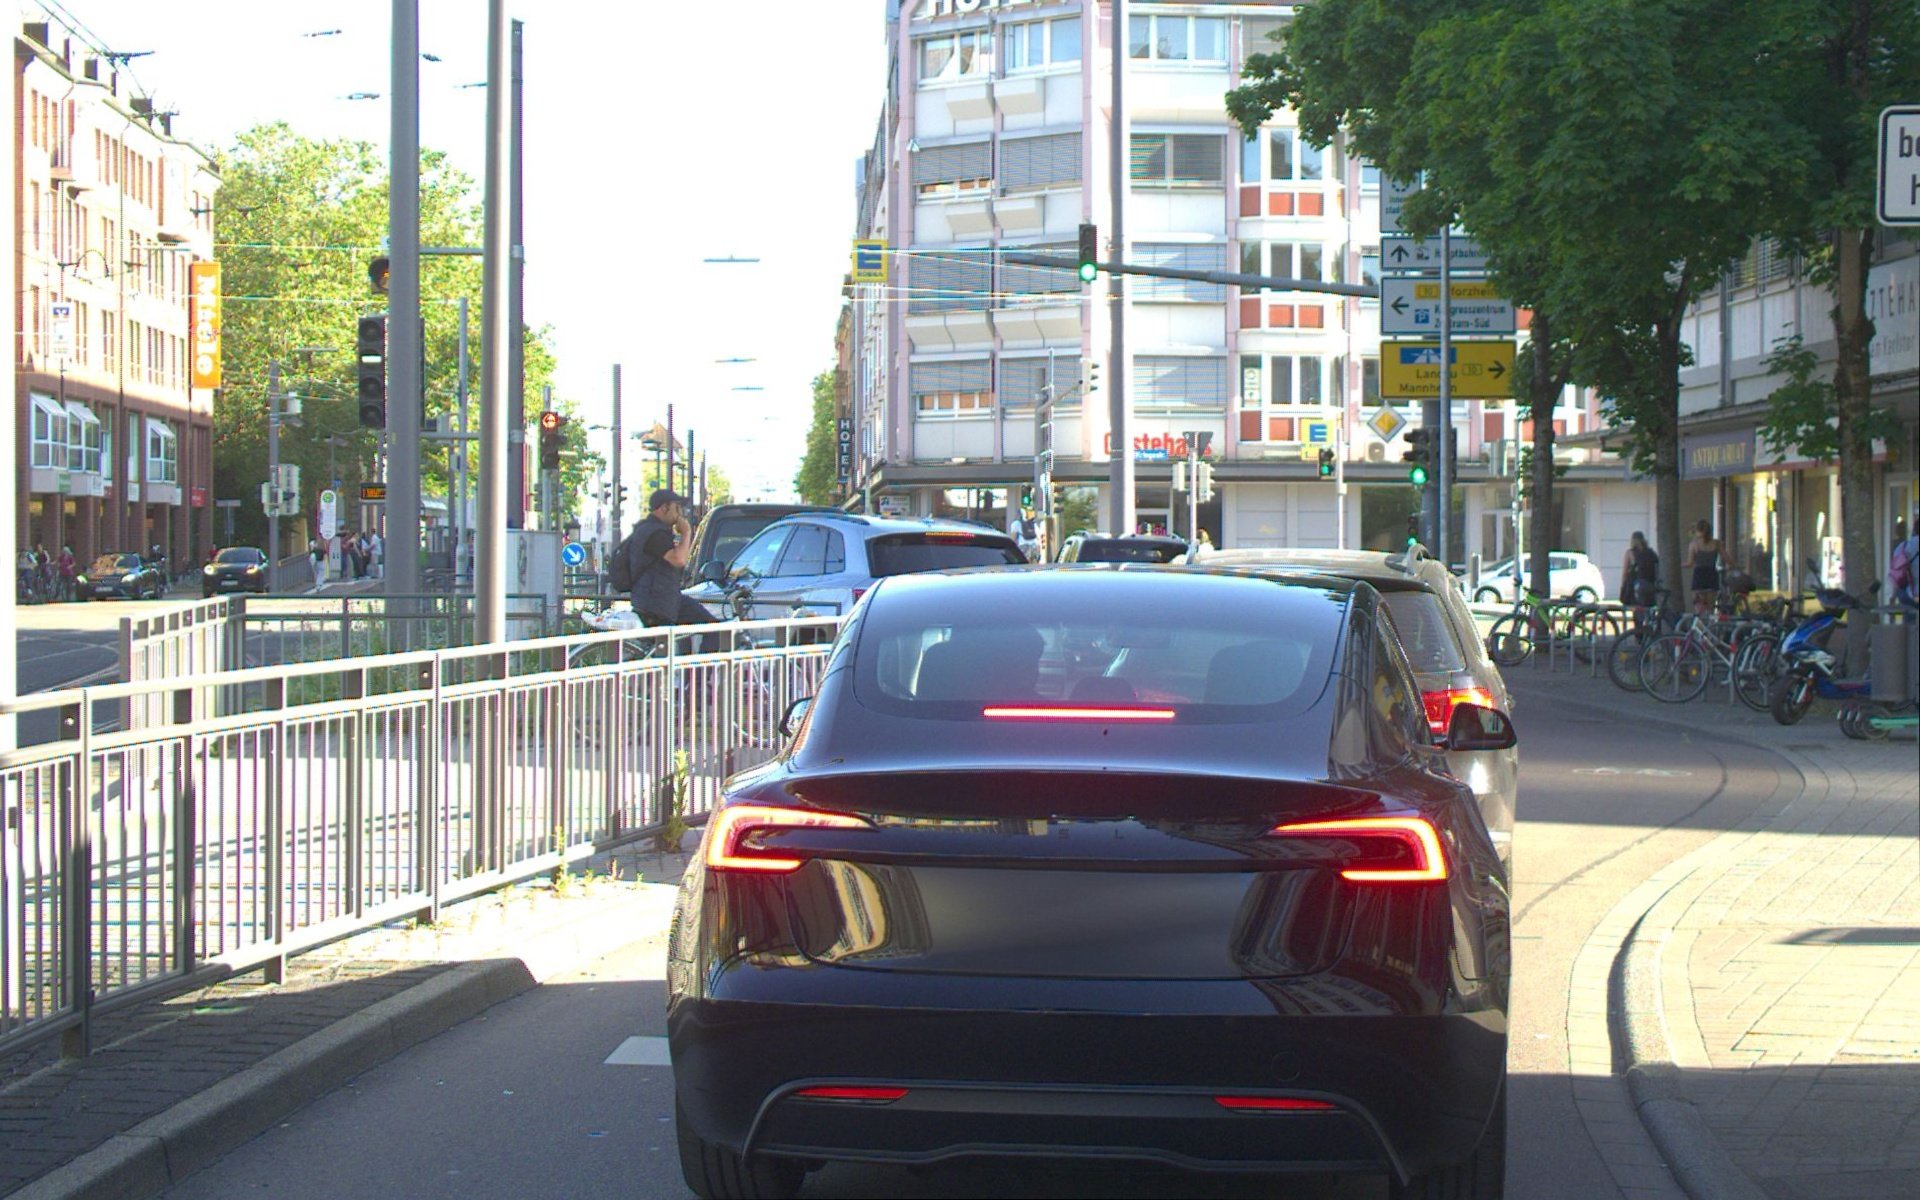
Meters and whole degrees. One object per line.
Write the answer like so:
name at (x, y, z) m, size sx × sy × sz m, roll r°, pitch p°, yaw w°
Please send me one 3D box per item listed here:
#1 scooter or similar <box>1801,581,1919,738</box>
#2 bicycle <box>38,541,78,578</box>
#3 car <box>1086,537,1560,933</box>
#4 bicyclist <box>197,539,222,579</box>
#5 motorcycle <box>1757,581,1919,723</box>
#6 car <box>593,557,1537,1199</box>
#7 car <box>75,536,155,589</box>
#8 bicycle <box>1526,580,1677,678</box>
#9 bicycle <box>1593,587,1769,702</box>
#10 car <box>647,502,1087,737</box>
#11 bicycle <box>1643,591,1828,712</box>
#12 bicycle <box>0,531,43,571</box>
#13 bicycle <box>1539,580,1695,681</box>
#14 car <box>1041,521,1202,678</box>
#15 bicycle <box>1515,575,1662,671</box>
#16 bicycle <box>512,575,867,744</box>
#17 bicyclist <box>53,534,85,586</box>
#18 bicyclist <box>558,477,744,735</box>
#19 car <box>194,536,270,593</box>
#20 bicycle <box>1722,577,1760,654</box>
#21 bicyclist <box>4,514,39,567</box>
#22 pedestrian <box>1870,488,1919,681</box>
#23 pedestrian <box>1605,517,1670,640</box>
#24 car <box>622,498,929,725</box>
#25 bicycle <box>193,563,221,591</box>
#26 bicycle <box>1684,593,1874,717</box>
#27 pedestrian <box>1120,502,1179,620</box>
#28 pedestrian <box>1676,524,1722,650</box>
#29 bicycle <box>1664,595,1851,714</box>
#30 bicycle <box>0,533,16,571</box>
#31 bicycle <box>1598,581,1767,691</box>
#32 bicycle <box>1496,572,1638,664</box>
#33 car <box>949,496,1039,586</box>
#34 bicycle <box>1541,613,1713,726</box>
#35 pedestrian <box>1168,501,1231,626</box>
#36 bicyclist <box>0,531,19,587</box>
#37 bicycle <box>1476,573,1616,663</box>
scooter or similar at (7.564, 0.471, 27.188) m, size 1.644 × 1.211 × 0.644 m, roll 1°, pitch 0°, yaw 30°
bicycle at (-27.252, -1.226, 103.897) m, size 0.529 × 1.085 × 2.284 m, roll 0°, pitch 1°, yaw 1°
car at (1.560, 0.466, 14.899) m, size 1.751 × 1.449 × 3.999 m, roll 1°, pitch 1°, yaw 6°
bicyclist at (-29.337, -1.599, 134.338) m, size 0.784 × 1.558 × 0.746 m, roll 1°, pitch 0°, yaw 2°
motorcycle at (7.719, 0.442, 29.298) m, size 1.707 × 1.169 × 0.541 m, roll 1°, pitch 0°, yaw -2°
car at (0.347, 0.635, 8.713) m, size 1.829 × 1.450 × 3.999 m, roll 1°, pitch 1°, yaw 4°
car at (-25.240, -1.113, 102.767) m, size 1.710 × 1.521 × 4.037 m, roll 1°, pitch 1°, yaw -5°
bicycle at (7.336, 0.328, 39.327) m, size 1.650 × 1.095 × 0.350 m, roll 1°, pitch 0°, yaw 1°
bicycle at (7.007, 0.432, 33.399) m, size 1.649 × 1.095 × 0.350 m, roll 1°, pitch 0°, yaw -10°
car at (-0.815, 0.114, 26.526) m, size 1.883 × 1.656 × 4.159 m, roll 1°, pitch 1°, yaw -25°
bicycle at (7.188, 0.475, 31.872) m, size 1.649 × 1.095 × 0.350 m, roll 1°, pitch 0°, yaw -10°
bicycle at (-27.368, -1.412, 100.188) m, size 0.529 × 1.085 × 2.284 m, roll 4°, pitch 0°, yaw 1°
bicycle at (7.316, 0.341, 38.300) m, size 1.650 × 1.095 × 0.350 m, roll 1°, pitch 0°, yaw 1°
car at (1.886, -0.022, 41.157) m, size 1.598 × 1.772 × 3.981 m, roll 1°, pitch 1°, yaw -2°
bicycle at (7.369, 0.268, 40.340) m, size 1.650 × 1.095 × 0.350 m, roll 1°, pitch 0°, yaw 1°
bicycle at (-1.742, 0.374, 22.445) m, size 2.329 × 1.050 × 0.631 m, roll 0°, pitch 1°, yaw -38°
bicyclist at (-27.198, -1.227, 104.940) m, size 0.784 × 1.558 × 0.746 m, roll 0°, pitch 1°, yaw 2°
bicyclist at (-1.999, 0.032, 22.192) m, size 0.758 × 1.623 × 0.978 m, roll 0°, pitch 1°, yaw -39°
car at (-22.430, -1.092, 105.987) m, size 1.697 × 1.725 × 3.707 m, roll 1°, pitch 1°, yaw -3°
bicycle at (10.594, 0.202, 46.643) m, size 0.332 × 1.030 × 1.256 m, roll 1°, pitch 0°, yaw 6°
bicyclist at (-27.354, -1.732, 100.205) m, size 0.784 × 1.558 × 0.746 m, roll 0°, pitch 1°, yaw 1°
pedestrian at (9.944, -0.161, 35.995) m, size 0.662 × 2.007 × 0.579 m, roll 1°, pitch 0°, yaw 2°
pedestrian at (9.243, -0.297, 46.915) m, size 0.699 × 1.656 × 0.777 m, roll 1°, pitch 0°, yaw -1°
car at (-1.821, 0.076, 32.625) m, size 1.993 × 2.007 × 4.001 m, roll 0°, pitch 1°, yaw -17°
bicycle at (-29.365, -0.906, 134.023) m, size 0.529 × 1.085 × 2.224 m, roll 1°, pitch 1°, yaw 1°
bicycle at (7.390, 0.495, 31.027) m, size 1.649 × 1.095 × 0.350 m, roll 1°, pitch 0°, yaw -10°
pedestrian at (3.270, -0.672, 59.426) m, size 0.921 × 2.007 × 0.972 m, roll 1°, pitch 0°, yaw -1°
pedestrian at (10.117, -0.181, 47.086) m, size 0.526 × 1.704 × 0.403 m, roll 1°, pitch 0°, yaw 2°
bicycle at (7.293, 0.499, 31.448) m, size 1.649 × 1.057 × 0.350 m, roll 1°, pitch 0°, yaw -10°
bicycle at (-27.067, -1.347, 96.396) m, size 0.537 × 1.085 × 2.224 m, roll 1°, pitch 1°, yaw 2°
bicycle at (7.425, 0.367, 35.347) m, size 1.650 × 1.095 × 0.350 m, roll 1°, pitch 0°, yaw 1°
bicycle at (7.306, 0.211, 41.385) m, size 1.650 × 1.095 × 0.350 m, roll 0°, pitch 1°, yaw 1°
car at (0.663, -1.185, 69.835) m, size 1.719 × 1.745 × 3.754 m, roll 1°, pitch 1°, yaw -1°
bicycle at (6.644, 0.693, 34.244) m, size 1.649 × 1.095 × 0.350 m, roll 1°, pitch 0°, yaw -10°
pedestrian at (3.897, -0.598, 56.102) m, size 0.921 × 2.007 × 0.972 m, roll 1°, pitch 0°, yaw -1°
bicyclist at (-27.052, -1.155, 96.983) m, size 0.784 × 1.558 × 0.746 m, roll 1°, pitch 0°, yaw 1°
bicycle at (7.238, 0.220, 42.479) m, size 1.650 × 1.095 × 0.350 m, roll 1°, pitch 0°, yaw 1°
